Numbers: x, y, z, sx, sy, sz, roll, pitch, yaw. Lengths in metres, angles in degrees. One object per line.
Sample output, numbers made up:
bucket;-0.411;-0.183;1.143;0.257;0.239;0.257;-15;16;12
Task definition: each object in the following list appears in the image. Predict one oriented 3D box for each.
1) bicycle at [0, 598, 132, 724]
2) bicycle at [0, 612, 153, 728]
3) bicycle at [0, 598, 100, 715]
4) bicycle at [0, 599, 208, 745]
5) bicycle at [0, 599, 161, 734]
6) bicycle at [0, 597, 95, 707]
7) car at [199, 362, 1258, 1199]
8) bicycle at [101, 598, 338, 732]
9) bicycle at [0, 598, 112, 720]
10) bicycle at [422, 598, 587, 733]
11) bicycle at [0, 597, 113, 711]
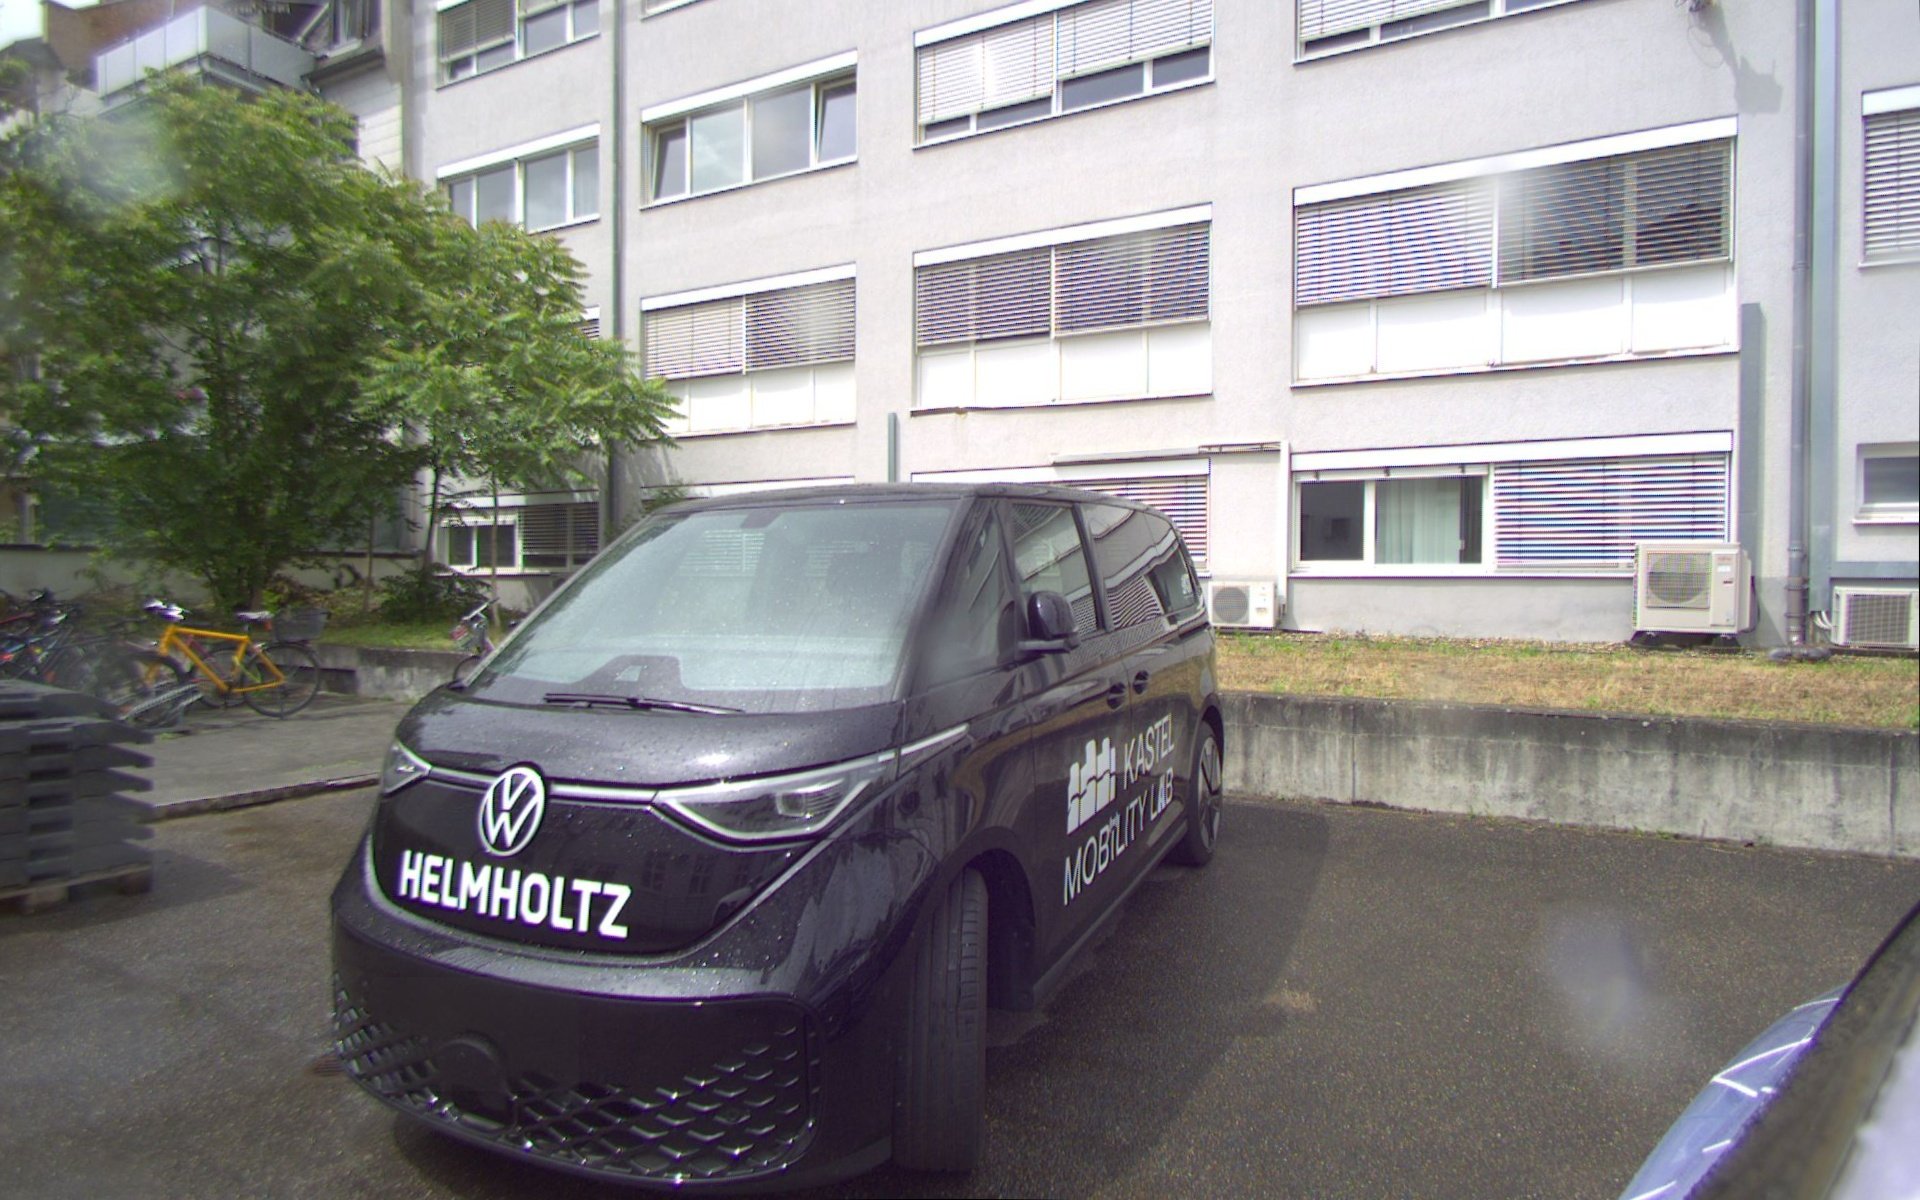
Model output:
bicycle;-8.744;0.556;9.330;0.329;1.117;1.740;1;1;26
bicycle;-8.437;0.625;9.185;0.326;0.979;1.780;1;1;26
bicycle;-9.443;0.552;9.783;0.342;1.117;1.740;1;1;26
bicycle;-7.389;0.562;8.437;0.403;1.117;1.774;1;1;34
bicycle;-8.099;0.560;8.812;0.352;1.117;1.774;1;1;34
bicycle;-10.087;0.545;10.471;0.338;1.117;1.740;1;1;26
car;-0.097;0.443;4.346;1.950;1.888;4.708;0;2;25
bicycle;-6.855;0.551;9.466;0.364;1.117;1.774;1;1;34
bicycle;-9.066;0.556;9.481;0.339;1.117;1.740;1;1;26
bicycle;-4.270;0.567;9.444;1.782;1.117;0.442;1;3;31
bicycle;-9.754;0.546;10.305;0.351;1.117;1.740;1;1;26
